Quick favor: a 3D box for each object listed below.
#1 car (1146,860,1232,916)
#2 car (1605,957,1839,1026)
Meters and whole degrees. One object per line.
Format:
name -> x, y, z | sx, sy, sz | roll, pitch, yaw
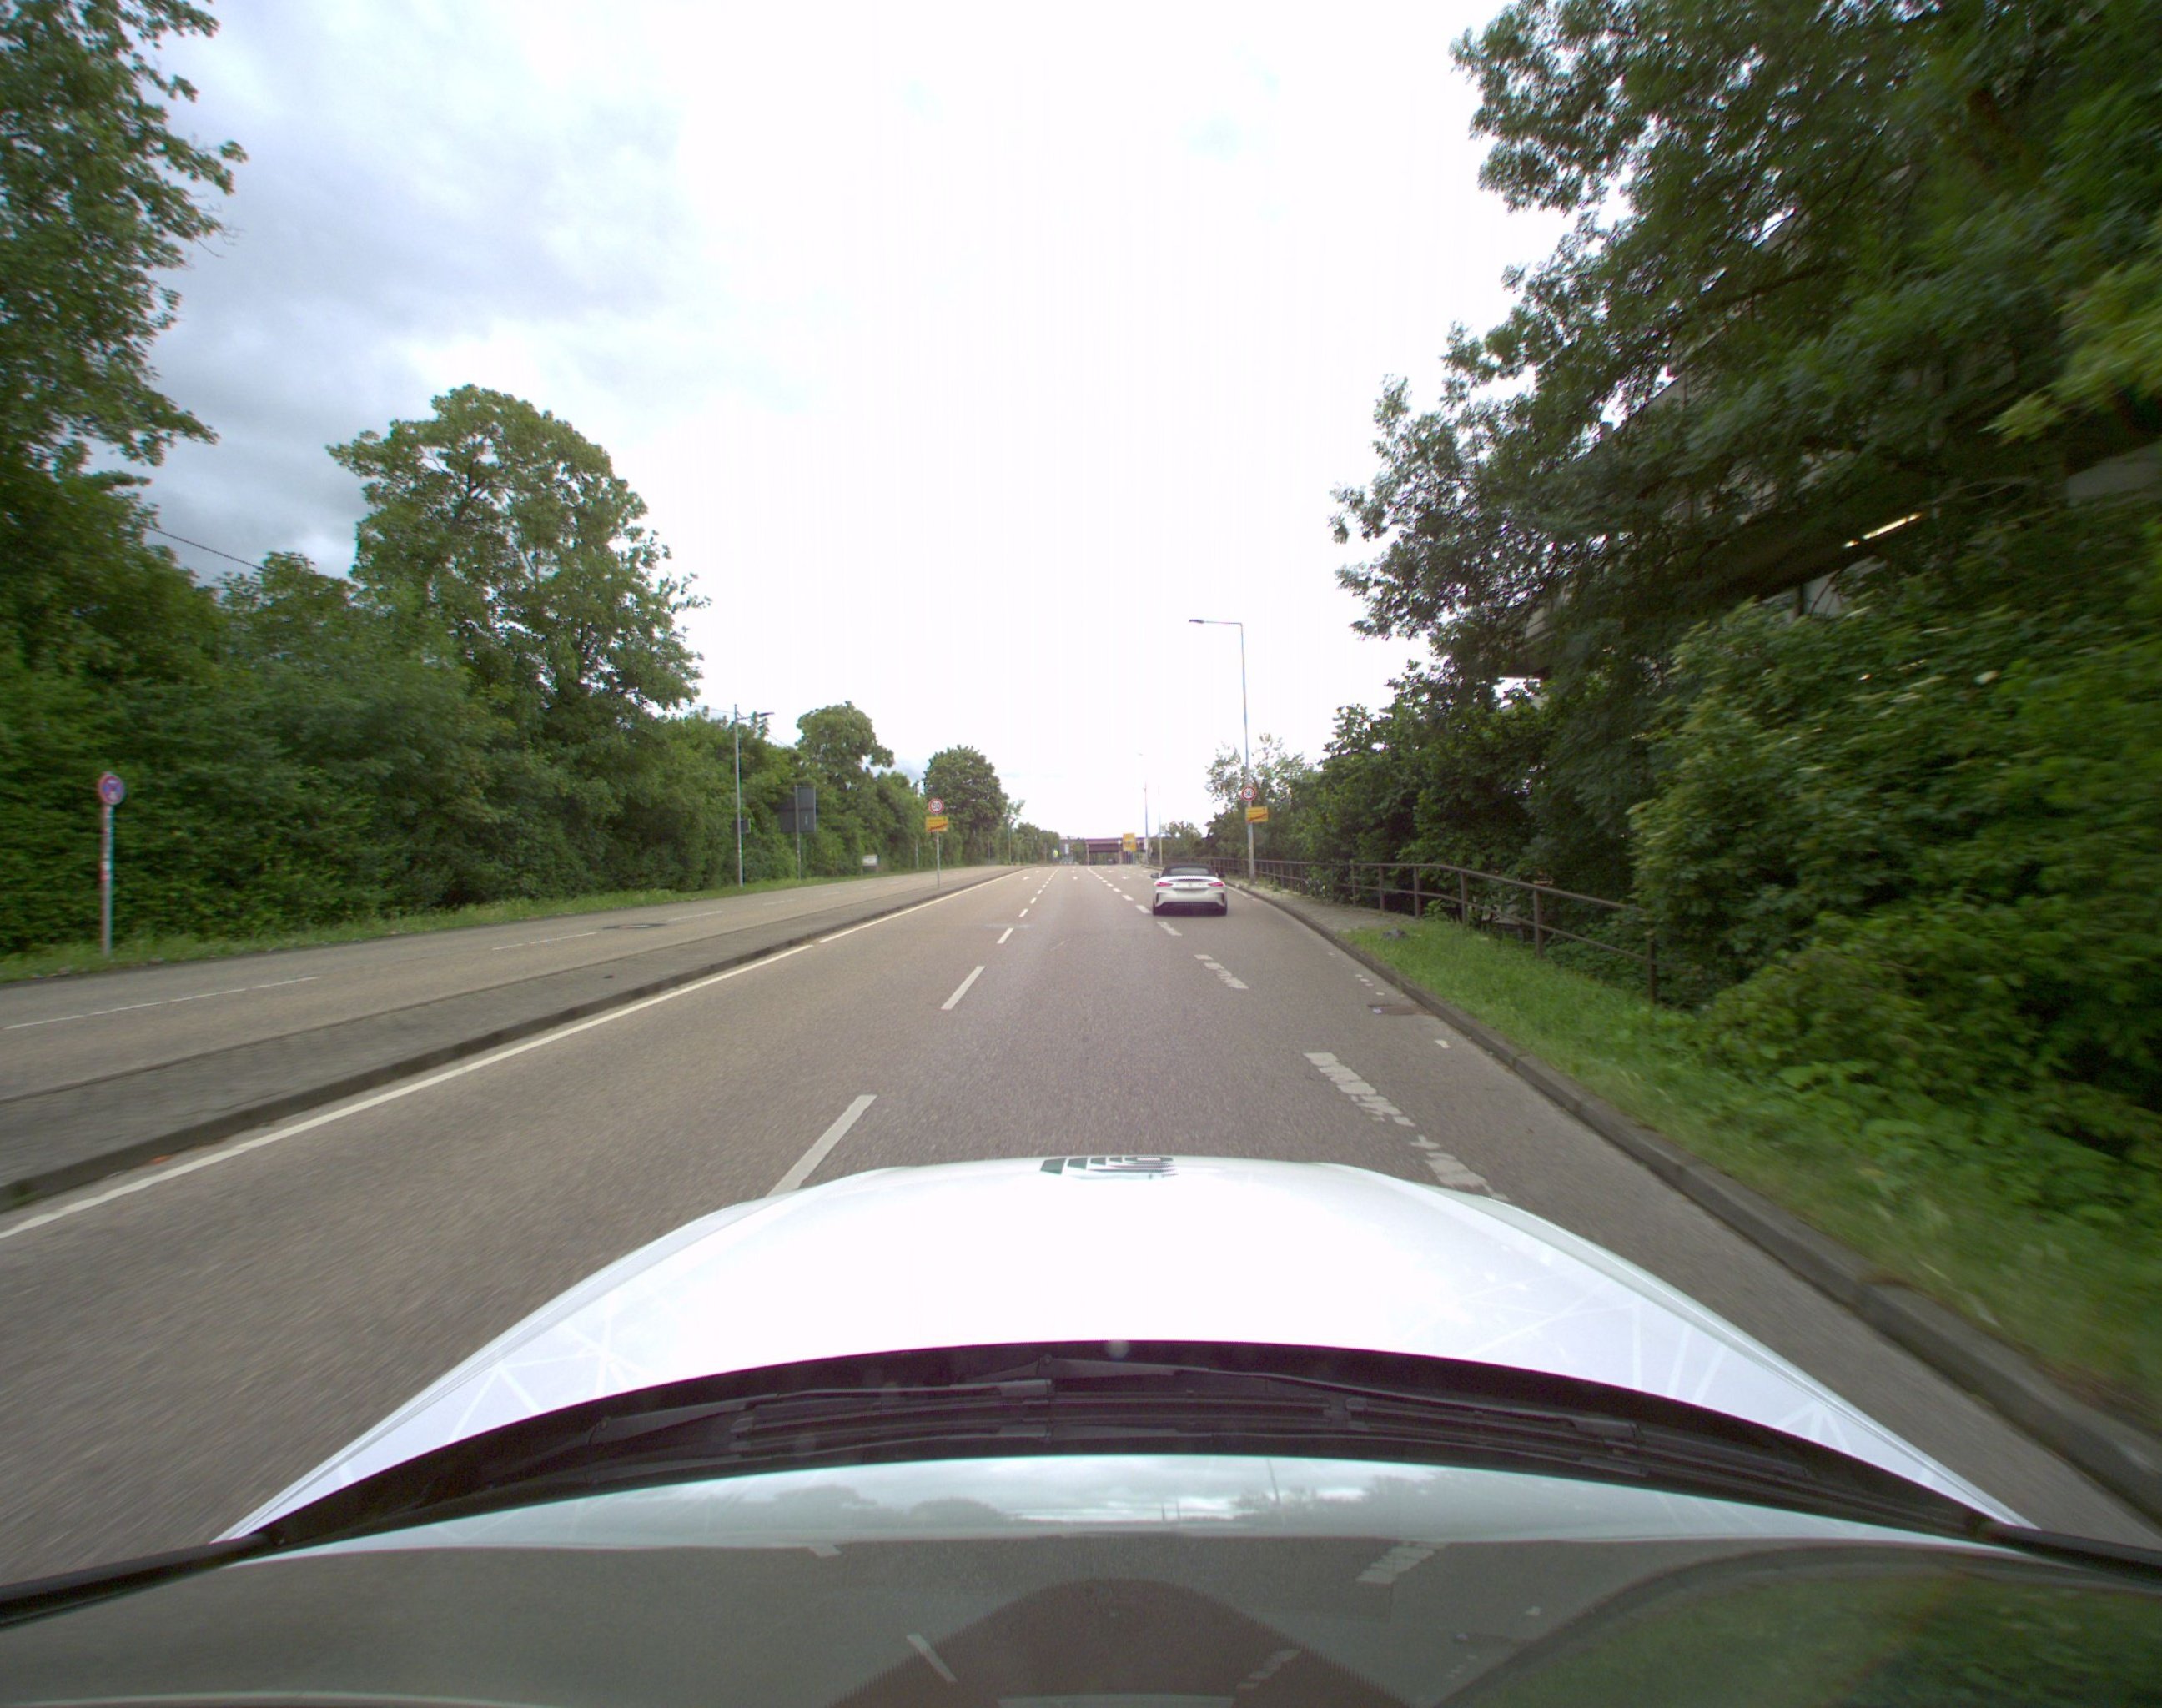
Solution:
car -> 2.769, 0.827, 21.645 | 1.868, 1.309, 3.874 | 0, 0, 2
car -> 16.758, 3.583, 21.458 | 4.640, 1.430, 1.998 | -1, -3, -3
